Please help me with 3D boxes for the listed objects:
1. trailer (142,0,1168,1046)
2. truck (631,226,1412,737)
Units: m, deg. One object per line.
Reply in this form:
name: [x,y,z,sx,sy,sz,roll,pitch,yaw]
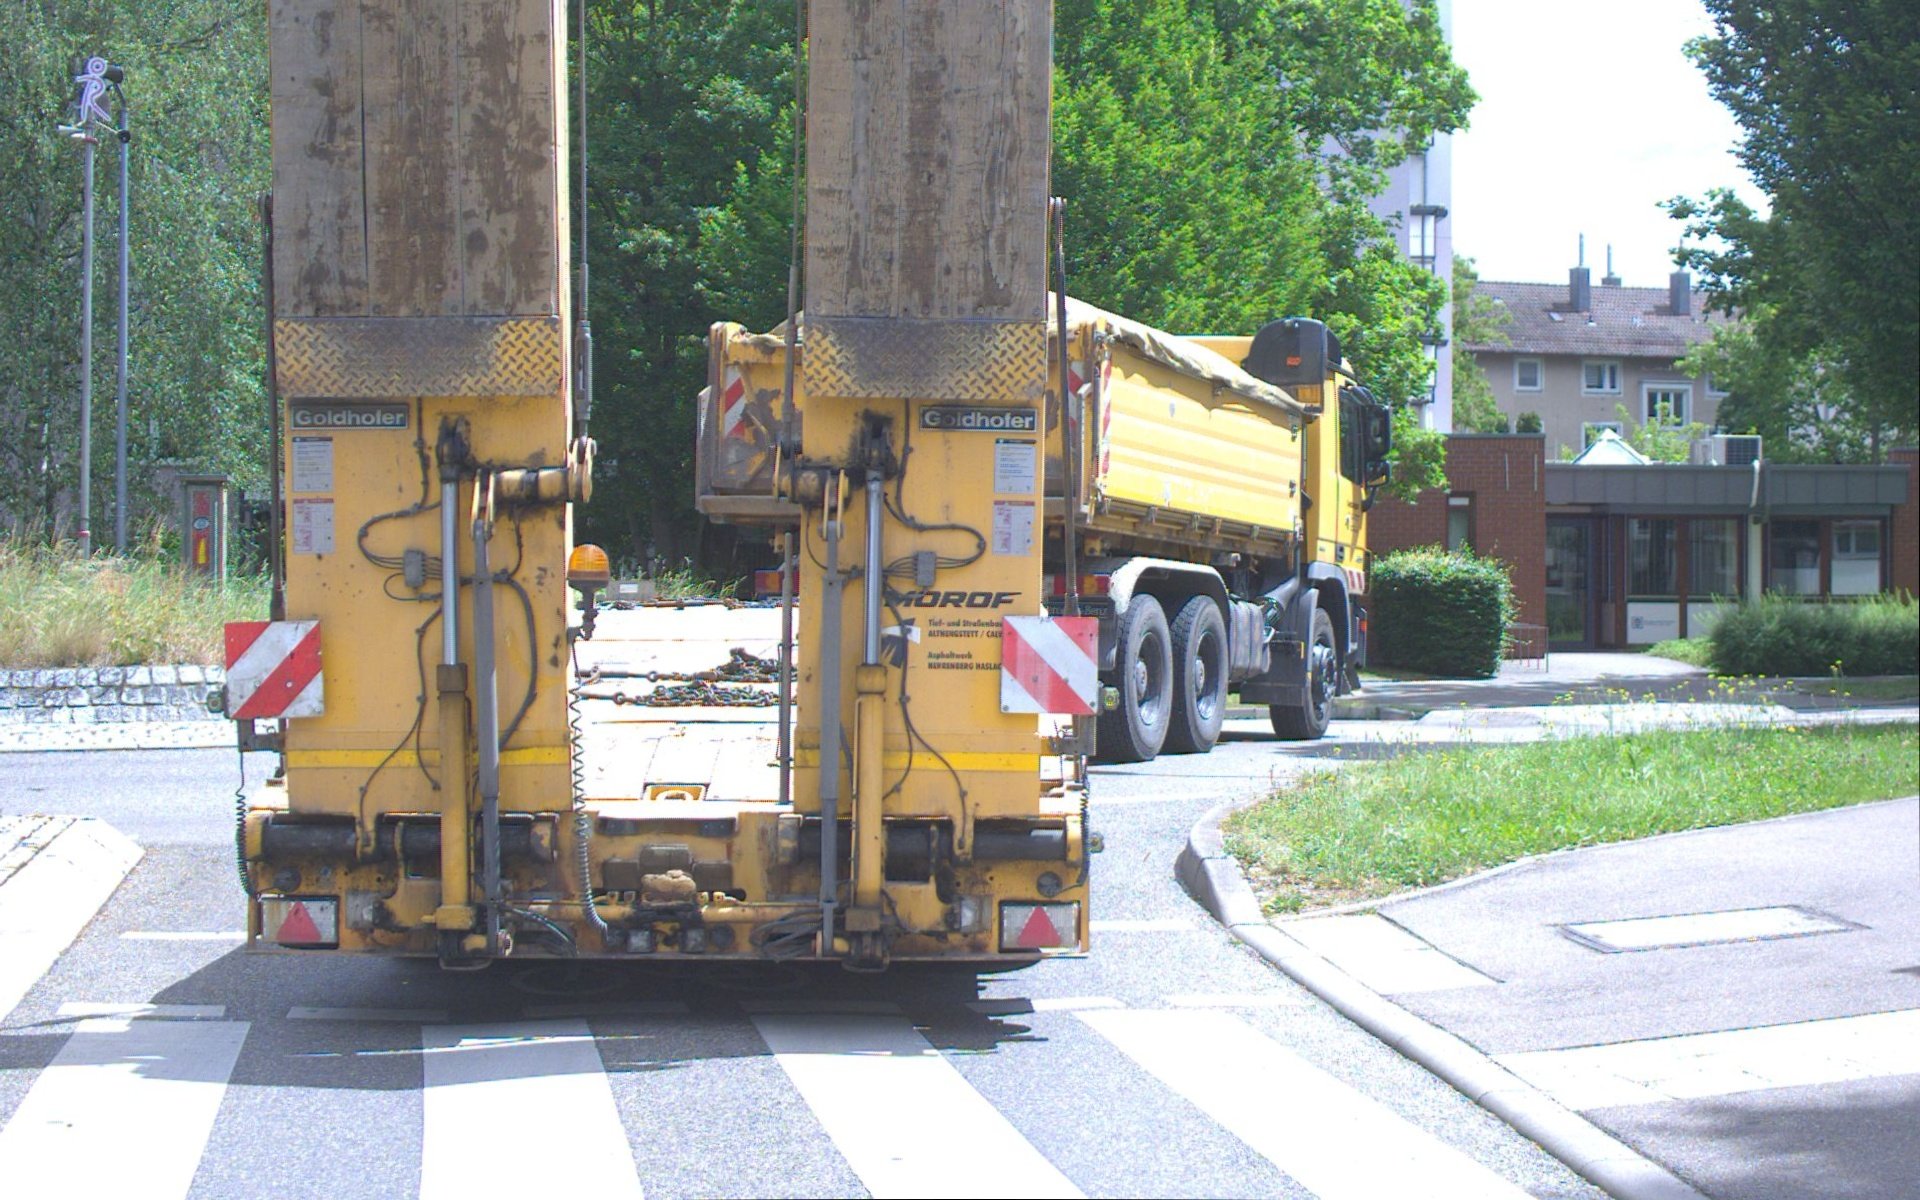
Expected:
trailer: [-0.624,-0.587,15.178,2.864,3.361,10.841,2,1,3]
truck: [0.832,-0.844,24.842,2.991,3.024,8.477,2,2,20]
